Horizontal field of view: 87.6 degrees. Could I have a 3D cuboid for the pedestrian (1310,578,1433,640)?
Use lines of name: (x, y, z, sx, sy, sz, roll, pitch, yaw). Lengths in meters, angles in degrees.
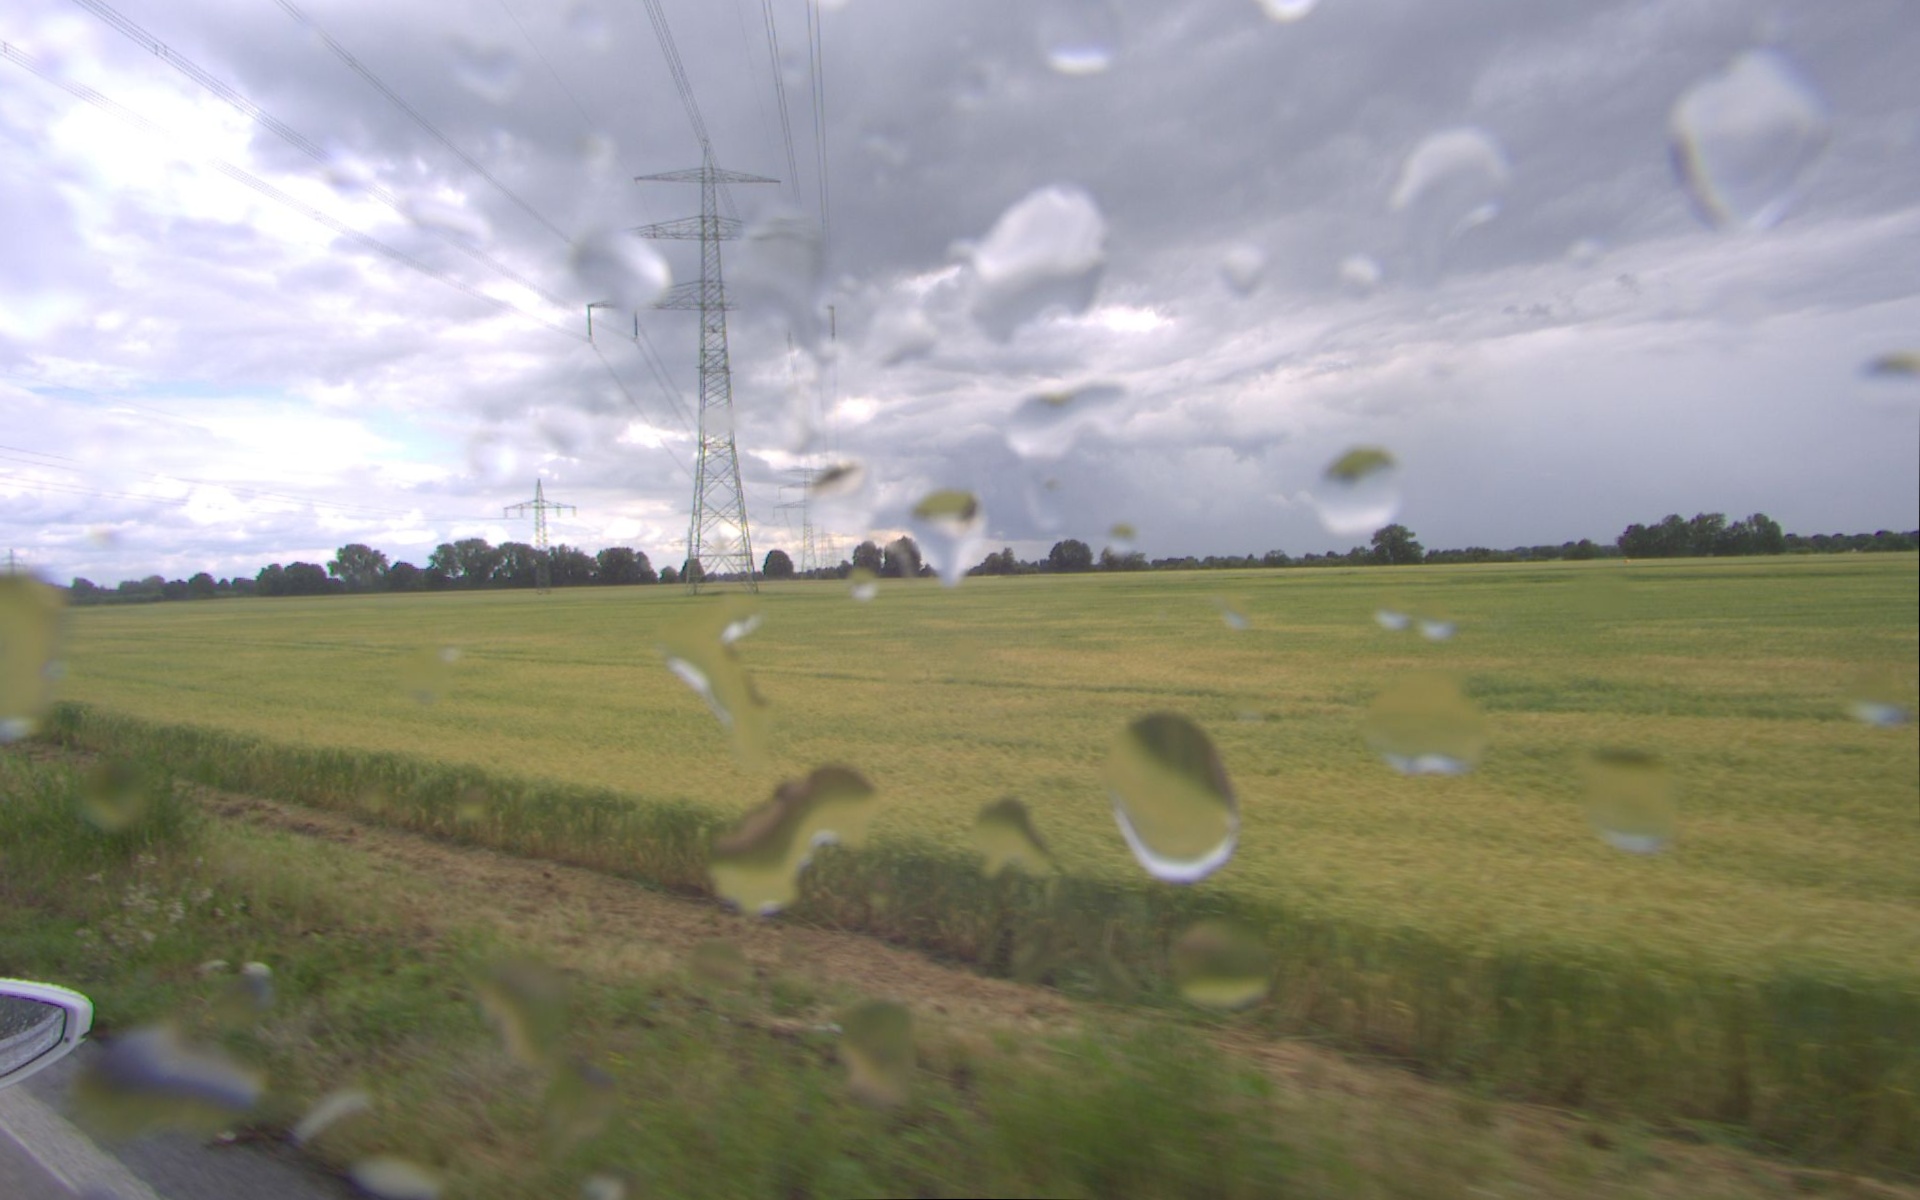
pedestrian: (14.665, 0.365, 35.816, 3.933, 2.039, 1.995, -2, -2, 23)
